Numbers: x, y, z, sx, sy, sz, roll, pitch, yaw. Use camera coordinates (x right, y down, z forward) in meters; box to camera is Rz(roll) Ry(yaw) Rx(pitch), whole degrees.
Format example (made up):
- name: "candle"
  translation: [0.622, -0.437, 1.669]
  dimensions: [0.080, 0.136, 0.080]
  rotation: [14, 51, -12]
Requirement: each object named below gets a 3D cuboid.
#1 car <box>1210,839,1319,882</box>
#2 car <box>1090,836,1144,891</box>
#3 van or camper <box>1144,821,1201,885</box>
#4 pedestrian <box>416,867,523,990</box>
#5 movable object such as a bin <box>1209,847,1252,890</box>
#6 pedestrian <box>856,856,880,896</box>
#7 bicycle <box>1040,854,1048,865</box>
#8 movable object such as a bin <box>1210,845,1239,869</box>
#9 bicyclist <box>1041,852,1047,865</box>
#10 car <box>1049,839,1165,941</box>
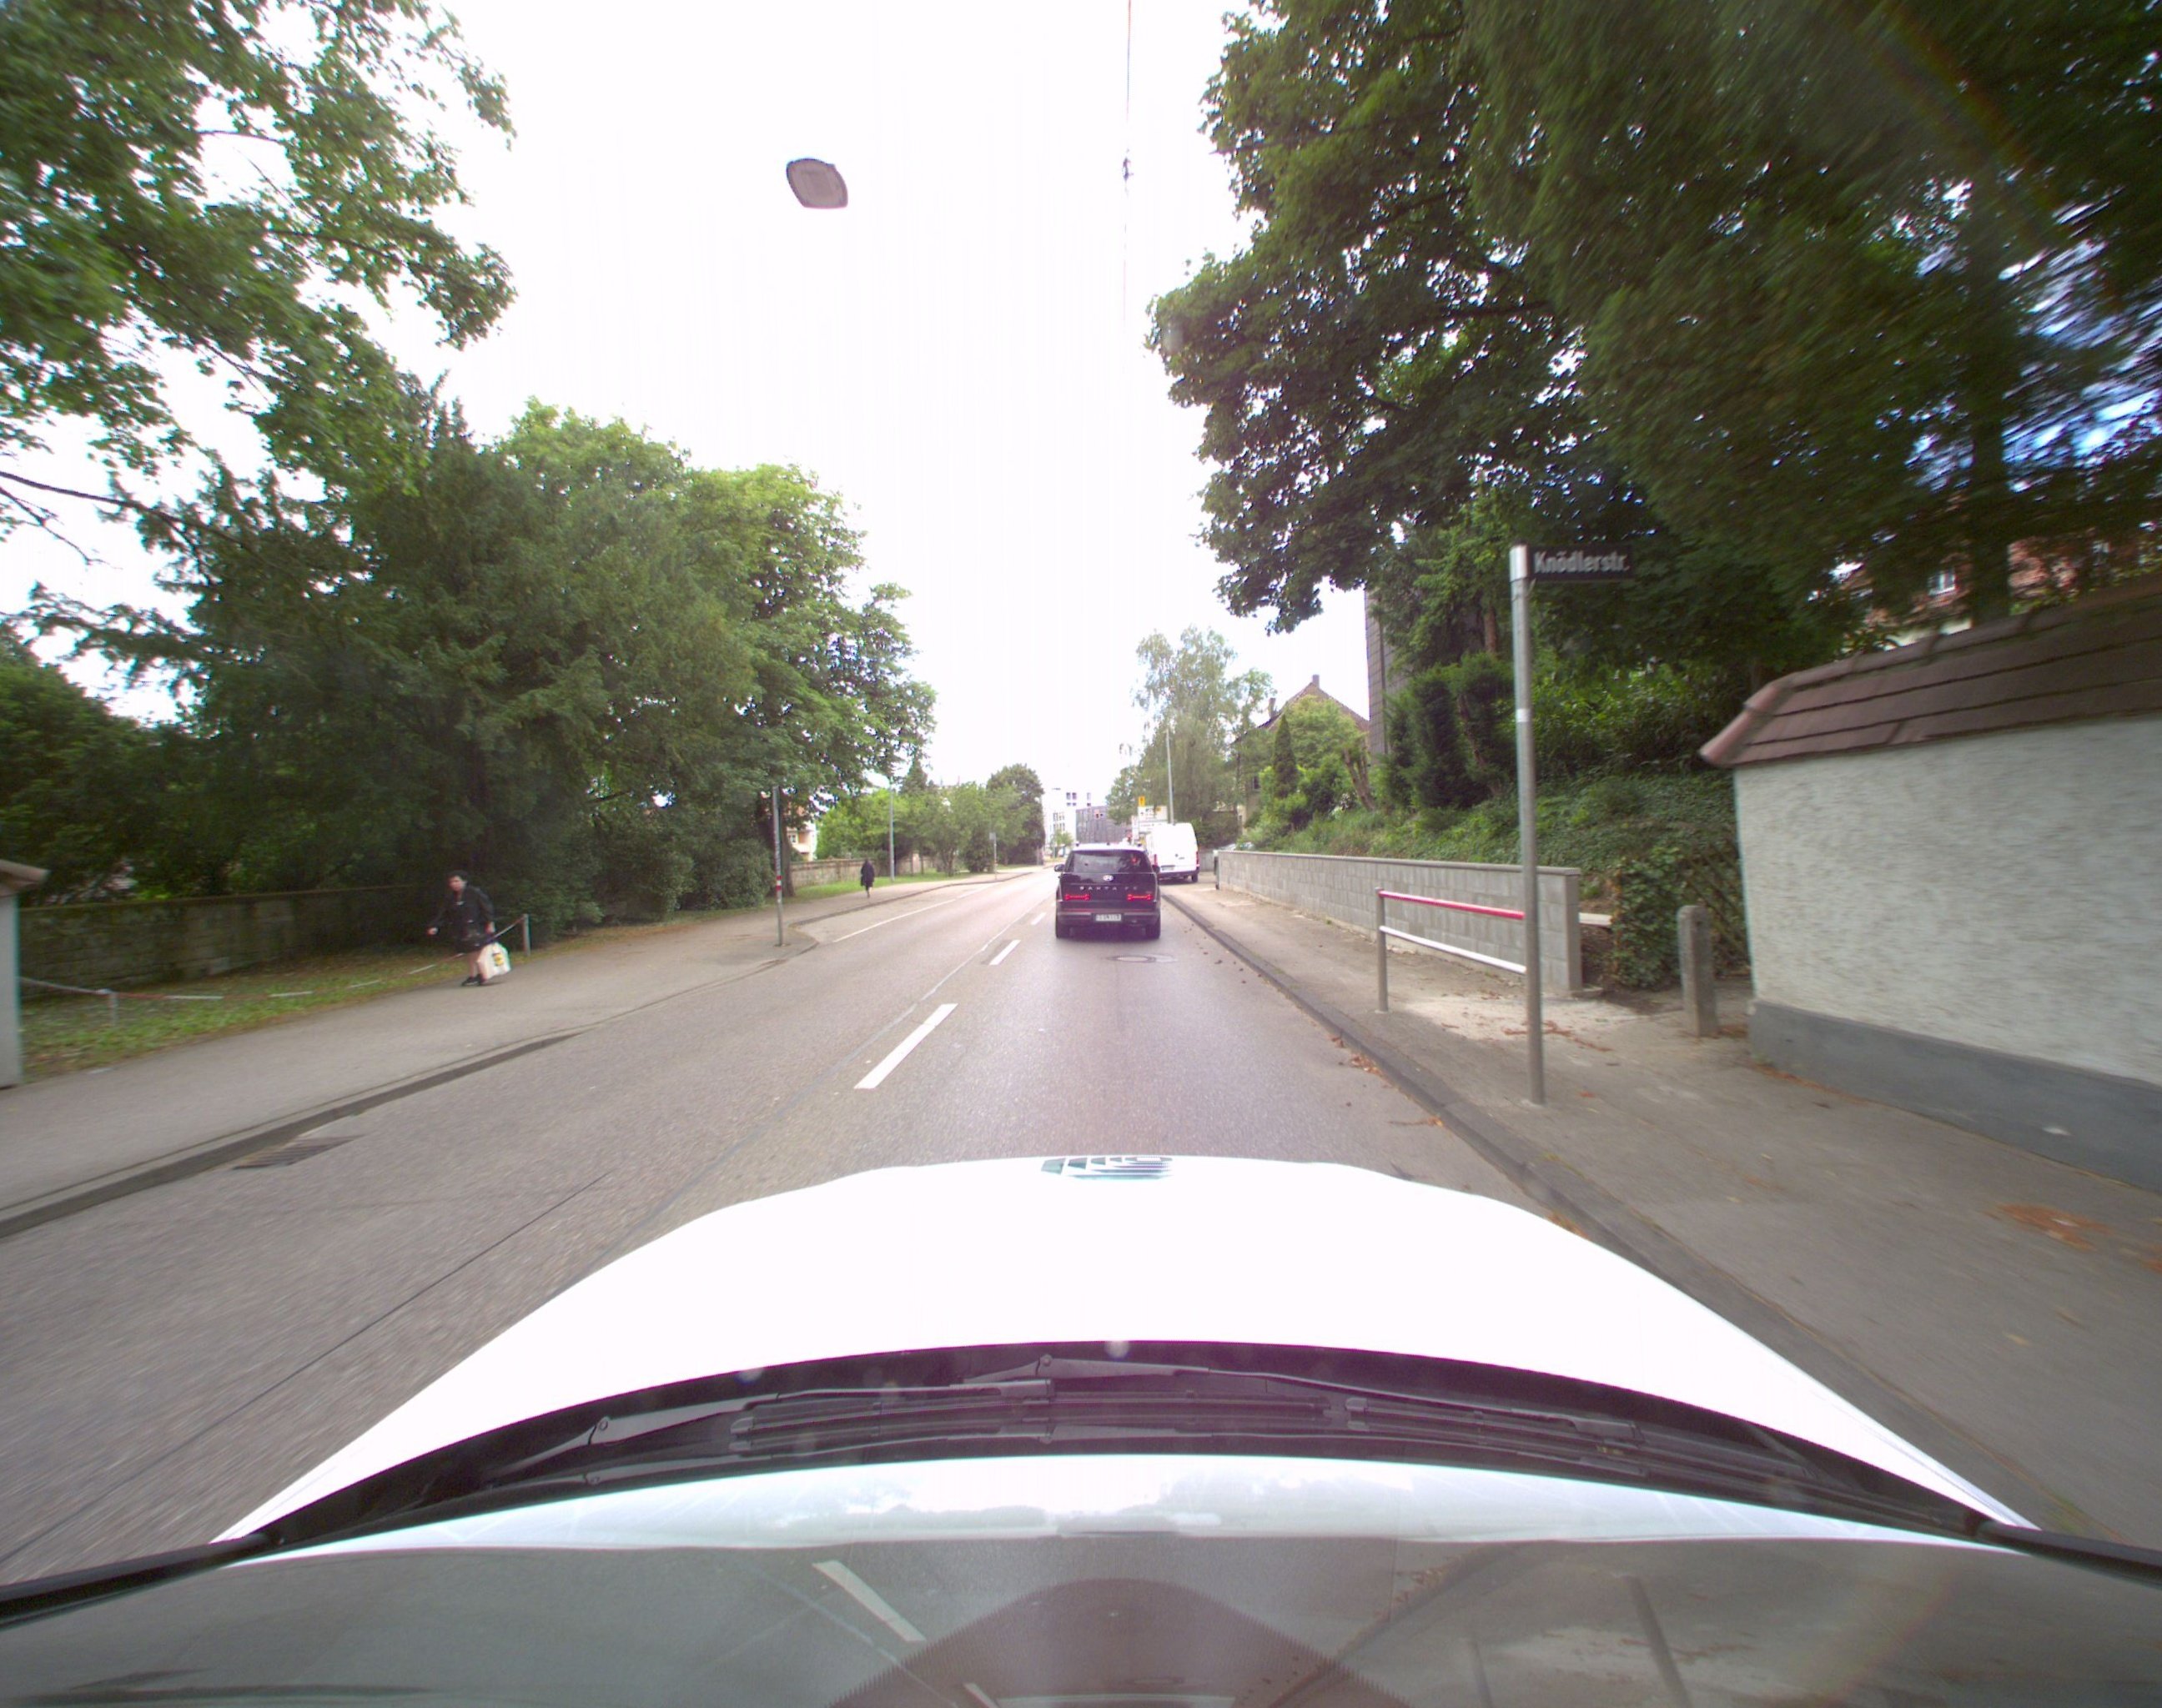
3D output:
- name: "car"
  translation: [7.917, 0.281, 35.436]
  dimensions: [4.376, 1.652, 1.831]
  rotation: [-2, 0, 3]
- name: "car"
  translation: [1.378, 0.359, 31.922]
  dimensions: [1.956, 2.001, 4.001]
  rotation: [0, 0, 1]
- name: "van or camper"
  translation: [4.178, -0.041, 38.276]
  dimensions: [1.957, 2.627, 6.360]
  rotation: [-4, 0, 1]
- name: "pedestrian"
  translation: [-8.323, 0.974, 11.133]
  dimensions: [0.929, 1.560, 0.896]
  rotation: [-1, 0, -20]
- name: "movable object such as a bin"
  translation: [5.387, 0.503, 29.370]
  dimensions: [1.295, 1.450, 1.181]
  rotation: [-3, 0, 2]
- name: "pedestrian"
  translation: [-8.516, 0.867, 32.585]
  dimensions: [0.747, 1.578, 0.965]
  rotation: [0, 0, -5]
- name: "bicycle"
  translation: [-4.568, 0.691, 100.300]
  dimensions: [0.675, 1.279, 2.490]
  rotation: [0, -2, -12]
- name: "movable object such as a bin"
  translation: [8.994, 0.201, 51.200]
  dimensions: [1.446, 1.473, 1.715]
  rotation: [0, 0, -4]
- name: "bicyclist"
  translation: [-4.568, 0.547, 100.333]
  dimensions: [0.675, 1.659, 0.855]
  rotation: [0, -2, -12]
- name: "car"
  translation: [0.510, 0.608, 15.758]
  dimensions: [1.956, 1.711, 4.002]
  rotation: [0, 0, 2]
